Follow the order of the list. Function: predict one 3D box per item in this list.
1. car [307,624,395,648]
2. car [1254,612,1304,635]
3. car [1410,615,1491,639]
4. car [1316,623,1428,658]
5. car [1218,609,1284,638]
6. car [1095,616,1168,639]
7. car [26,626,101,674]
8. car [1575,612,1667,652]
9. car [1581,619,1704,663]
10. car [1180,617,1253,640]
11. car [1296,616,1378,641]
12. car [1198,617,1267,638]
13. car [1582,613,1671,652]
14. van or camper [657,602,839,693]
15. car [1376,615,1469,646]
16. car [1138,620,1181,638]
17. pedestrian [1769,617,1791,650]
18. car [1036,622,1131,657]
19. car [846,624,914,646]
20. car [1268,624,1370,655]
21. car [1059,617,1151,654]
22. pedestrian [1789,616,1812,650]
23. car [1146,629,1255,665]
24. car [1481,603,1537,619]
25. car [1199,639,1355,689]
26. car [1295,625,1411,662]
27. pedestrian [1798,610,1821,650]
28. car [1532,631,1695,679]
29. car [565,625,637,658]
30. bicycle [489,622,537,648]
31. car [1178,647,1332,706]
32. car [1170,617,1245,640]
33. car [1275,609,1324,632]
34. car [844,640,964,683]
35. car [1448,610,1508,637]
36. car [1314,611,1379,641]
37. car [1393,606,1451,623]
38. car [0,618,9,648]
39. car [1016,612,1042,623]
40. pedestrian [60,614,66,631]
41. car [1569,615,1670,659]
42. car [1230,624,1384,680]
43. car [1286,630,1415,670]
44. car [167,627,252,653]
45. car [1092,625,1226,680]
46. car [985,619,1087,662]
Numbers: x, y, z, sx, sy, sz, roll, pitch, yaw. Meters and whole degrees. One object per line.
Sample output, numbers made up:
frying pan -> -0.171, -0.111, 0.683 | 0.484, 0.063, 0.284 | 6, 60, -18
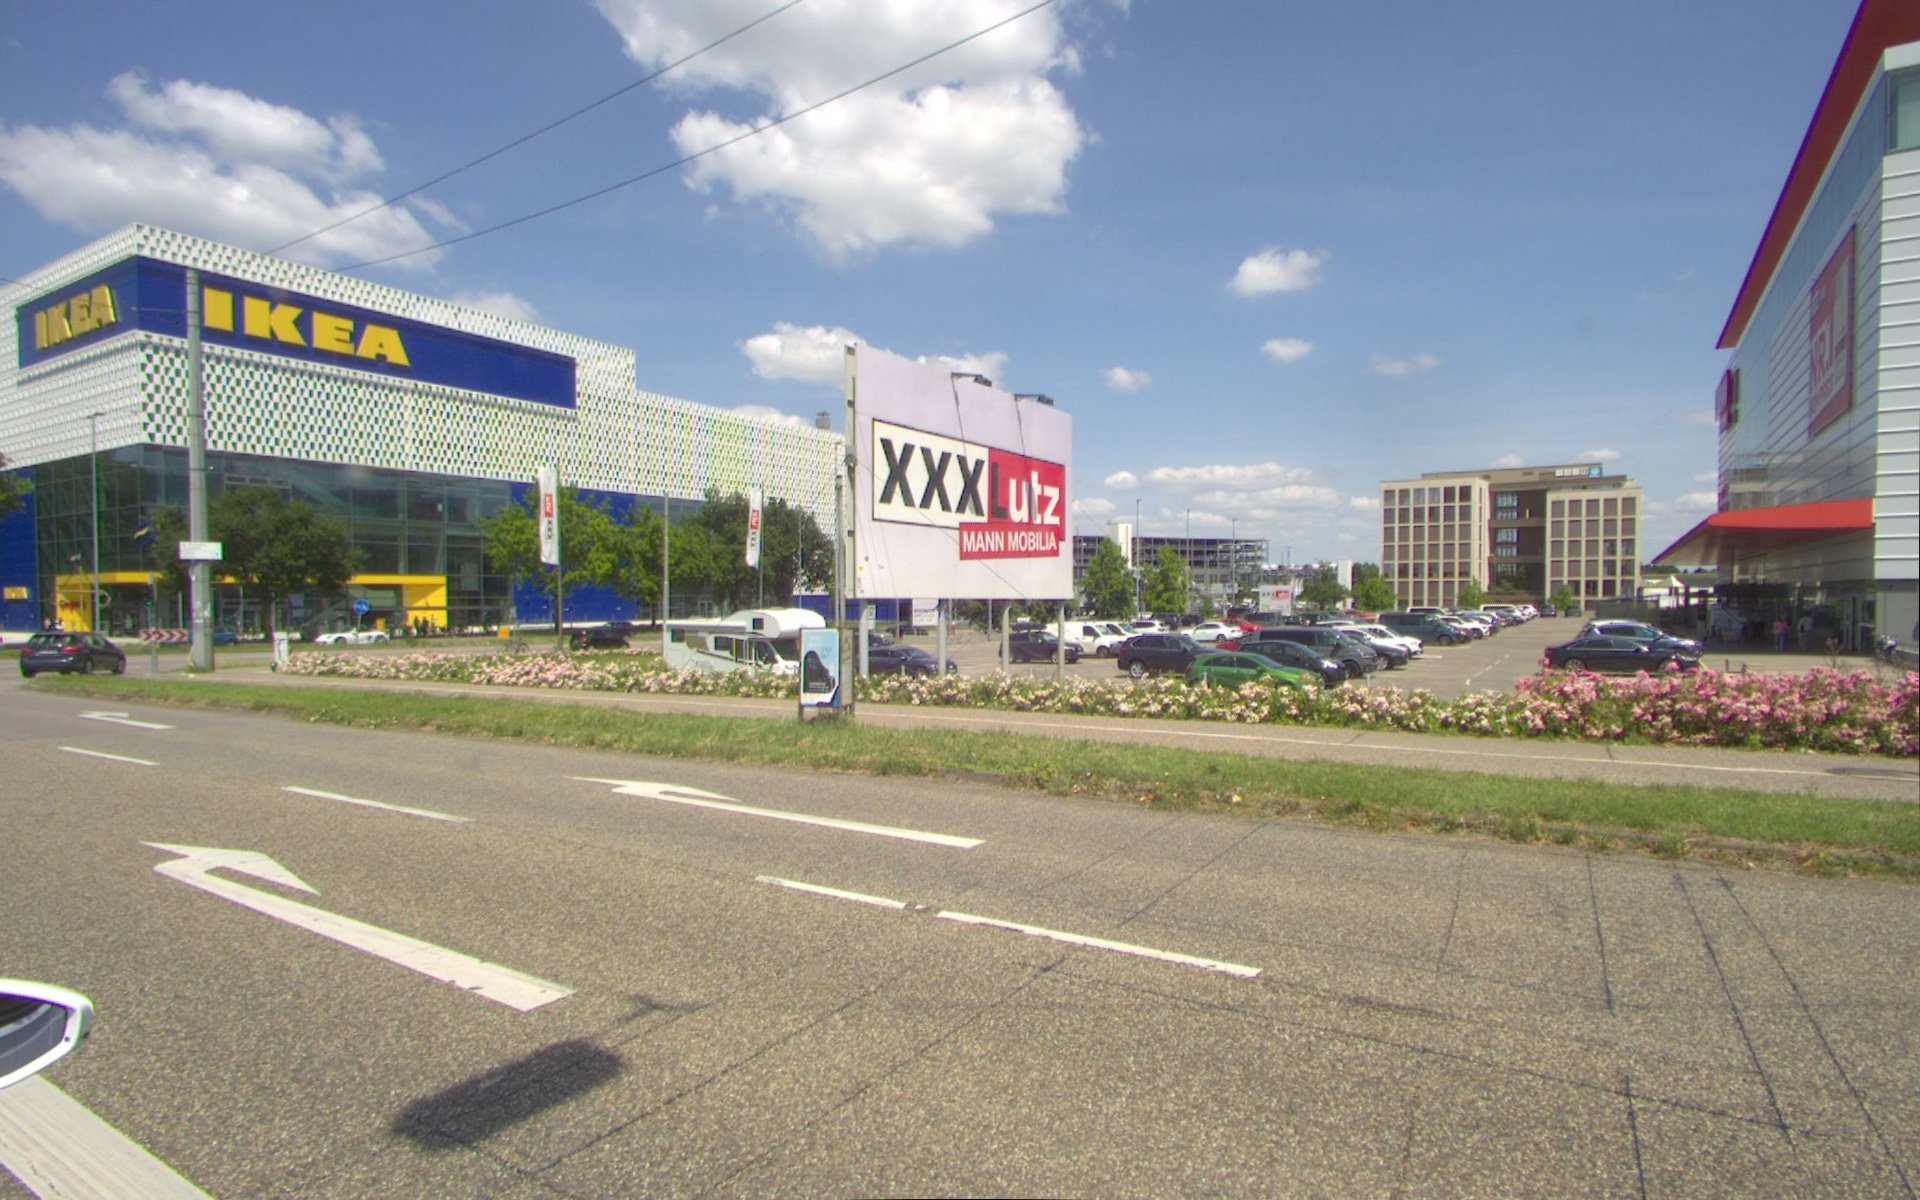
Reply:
car -> -39.692, 2.340, 65.378 | 1.974, 1.505, 4.485 | 0, -2, 36
car -> 28.282, 2.100, 88.799 | 3.943, 2.040, 1.990 | -1, -1, 32
car -> 34.389, 1.888, 70.274 | 4.930, 1.631, 1.990 | -1, -1, 33
car -> 20.571, 2.009, 50.072 | 4.930, 1.672, 1.990 | -1, -1, 33
car -> 24.122, 1.934, 83.050 | 4.930, 2.333, 1.990 | -1, -1, 33
car -> 12.462, 1.963, 72.761 | 4.922, 1.631, 1.993 | -1, -1, 27
car -> -31.692, 1.711, 35.476 | 1.746, 1.546, 4.067 | 0, -1, -39
car -> 34.468, 1.657, 52.358 | 3.943, 2.040, 1.990 | -1, -1, 32
car -> 29.129, 1.755, 42.906 | 4.271, 1.804, 1.990 | -1, -2, 33
car -> 19.066, 2.124, 74.543 | 4.930, 1.631, 1.990 | -1, -1, 33
car -> 25.544, 1.926, 67.855 | 4.930, 1.631, 1.990 | -1, -1, 33
car -> 21.461, 2.184, 78.970 | 4.930, 1.631, 1.990 | -1, -1, 33
car -> 36.124, 1.734, 54.399 | 3.943, 2.040, 1.990 | -1, -1, 32
van or camper -> -7.896, 1.666, 36.834 | 7.129, 3.059, 2.499 | -1, -1, 36
car -> 28.648, 1.868, 62.086 | 5.106, 1.889, 1.991 | -1, -1, 31
car -> 20.466, 2.966, 102.755 | 3.943, 1.863, 1.819 | -1, -1, 32
pedestrian -> 39.969, 1.617, 48.829 | 0.725, 1.578, 0.739 | 0, -1, 30
car -> 6.876, 2.177, 56.107 | 4.930, 1.876, 1.990 | -1, -1, 33
car -> -6.126, 2.622, 76.618 | 5.083, 1.631, 1.990 | -1, -1, 33
car -> 19.451, 2.116, 54.293 | 4.928, 1.631, 1.990 | -1, -1, 32
car -> 8.401, 2.028, 58.192 | 4.930, 2.033, 1.990 | -1, -1, 33
pedestrian -> 39.895, 1.564, 47.520 | 0.725, 1.578, 0.739 | 0, -1, 30
car -> 11.926, 2.280, 49.762 | 4.930, 1.632, 1.989 | -1, 0, 33
car -> 56.363, 1.176, 102.757 | 4.930, 1.631, 1.990 | -1, -1, 33
car -> 11.136, 2.196, 35.290 | 4.930, 1.570, 1.990 | -1, -1, 33
car -> 18.779, 2.044, 47.908 | 4.930, 1.631, 1.990 | -1, -1, 33
pedestrian -> 40.955, 1.444, 48.282 | 0.725, 1.893, 0.739 | 0, -1, 30
car -> 23.963, 1.976, 36.928 | 4.930, 1.631, 1.990 | -1, -1, 33
car -> -23.831, 2.726, 66.576 | 1.972, 2.040, 4.172 | -1, -1, 33
bicycle -> -25.718, 1.991, 57.654 | 0.976, 1.500, 2.415 | 0, -1, 37
car -> 9.149, 2.320, 31.126 | 4.242, 1.517, 1.988 | -1, 2, 33
car -> 17.882, 2.037, 72.502 | 4.930, 1.631, 1.990 | -1, -1, 33
car -> 31.329, 1.887, 92.505 | 3.943, 2.040, 1.990 | -1, -1, 32
car -> -2.331, 2.517, 41.459 | 4.701, 1.558, 1.989 | -1, 1, 33
car -> 39.323, 1.801, 76.007 | 3.943, 2.040, 1.990 | -1, -1, 32
car -> 26.989, 1.777, 69.862 | 3.943, 2.040, 1.990 | -1, -1, 32
car -> 45.227, 1.413, 98.074 | 4.930, 1.631, 1.990 | -1, -1, 33
car -> -50.074, 1.614, 49.234 | 1.974, 1.505, 4.485 | 0, -2, 36
car -> 10.567, 2.671, 153.792 | 1.974, 1.505, 4.485 | 0, -2, 36
pedestrian -> -72.609, 1.787, 81.029 | 0.263, 1.360, 0.288 | 0, 0, 32
car -> 31.440, 1.750, 47.860 | 3.943, 2.040, 1.990 | -1, -1, 32
car -> 13.602, 1.982, 39.409 | 5.456, 2.039, 1.990 | -1, -1, 33
car -> 16.885, 2.119, 43.400 | 4.930, 1.631, 1.990 | -1, -1, 33
car -> -45.935, 2.441, 61.358 | 1.974, 1.505, 3.779 | 0, -2, 36
car -> 7.993, 2.056, 40.363 | 4.930, 2.041, 1.989 | -1, 1, 33
car -> 3.936, 2.061, 52.150 | 4.930, 2.162, 1.990 | -1, -1, 33
